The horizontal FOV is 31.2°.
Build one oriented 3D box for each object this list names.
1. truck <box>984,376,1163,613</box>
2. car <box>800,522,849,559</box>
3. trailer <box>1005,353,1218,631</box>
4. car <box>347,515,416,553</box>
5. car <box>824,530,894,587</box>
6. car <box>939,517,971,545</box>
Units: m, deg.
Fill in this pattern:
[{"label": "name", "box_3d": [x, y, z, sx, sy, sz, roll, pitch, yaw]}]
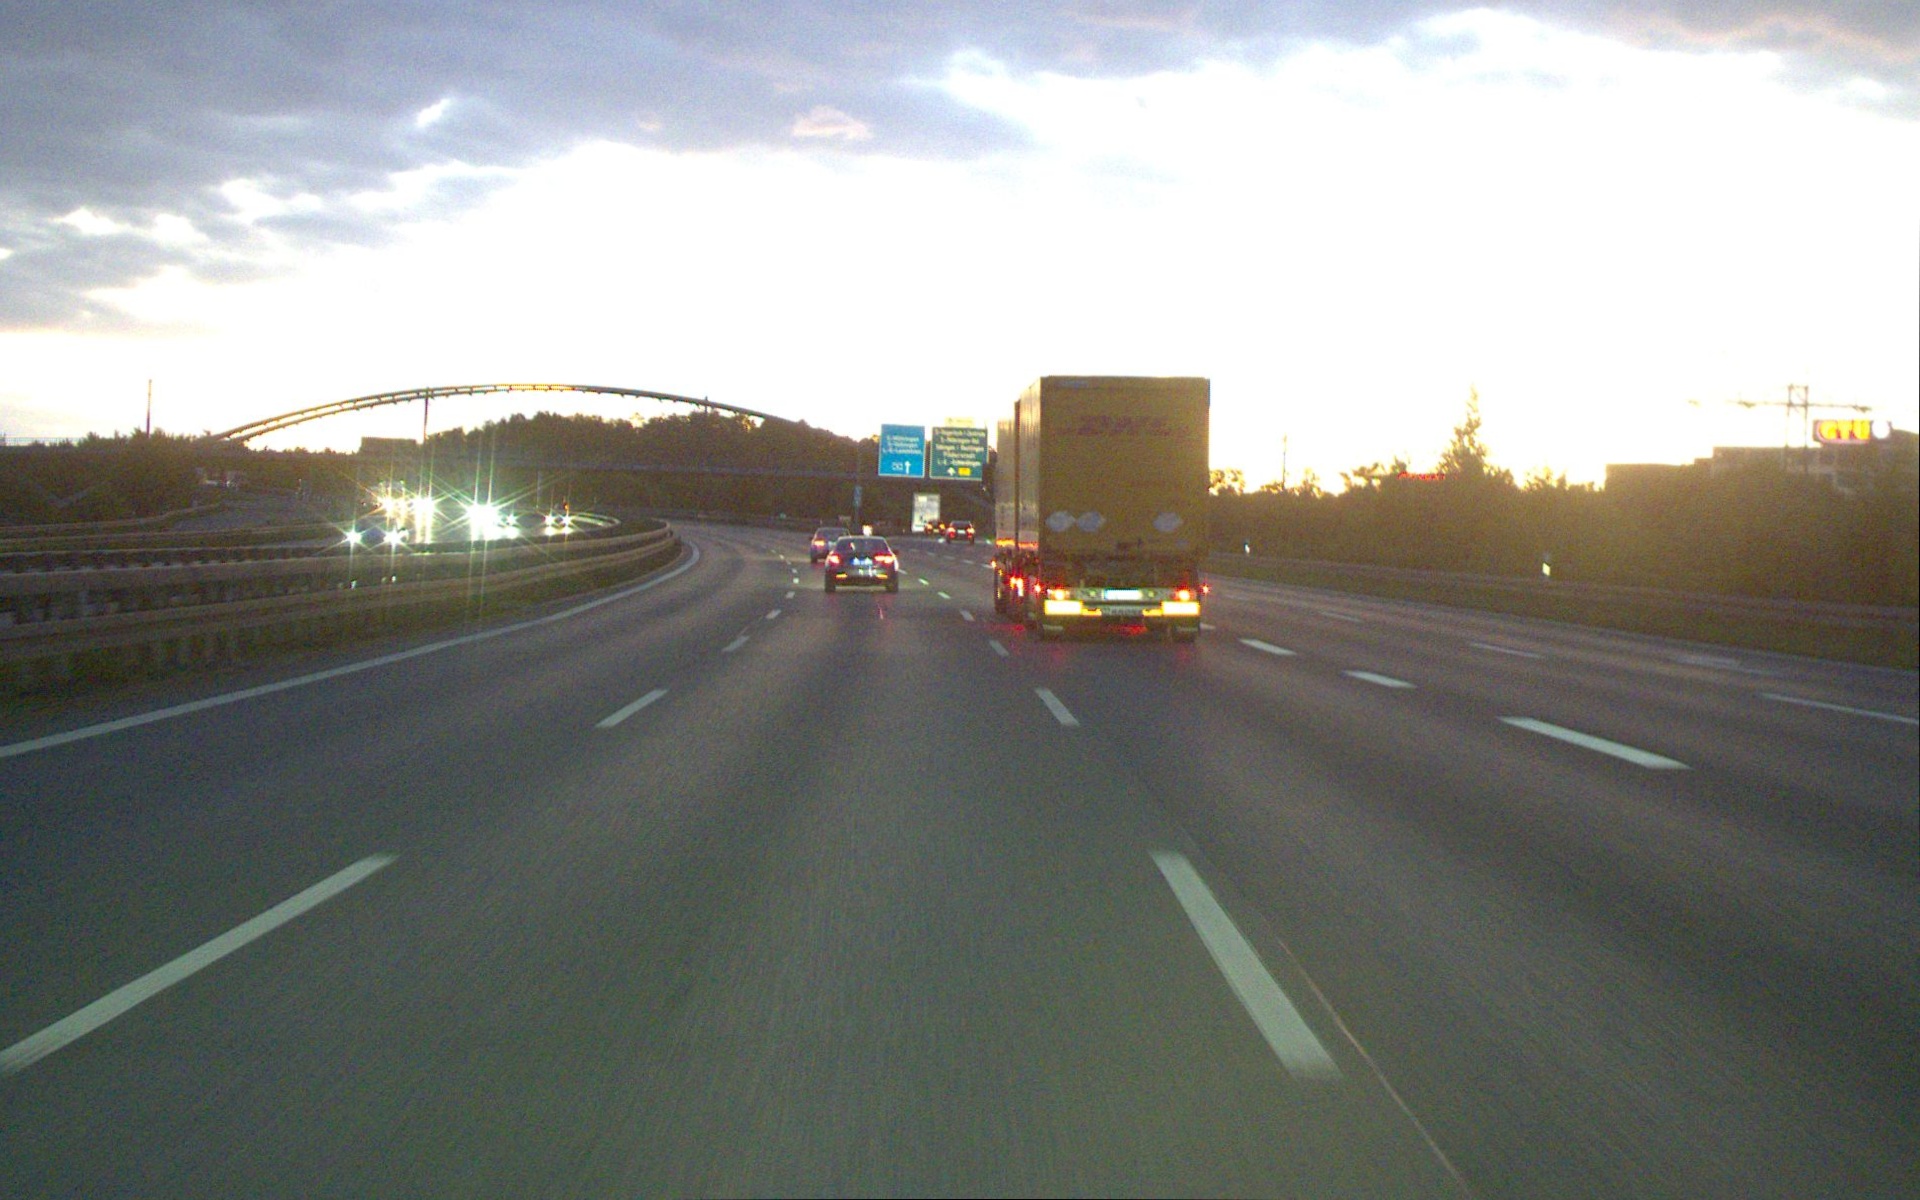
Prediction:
[{"label": "truck", "box_3d": [2.007, -1.978, 64.973, 2.690, 4.057, 10.521, 1, 2, -2]}, {"label": "car", "box_3d": [-5.453, -2.391, 138.721, 1.689, 1.397, 3.408, 0, 0, 3]}, {"label": "trailer", "box_3d": [2.304, -1.720, 55.320, 2.721, 4.057, 8.832, 1, 2, -2]}, {"label": "car", "box_3d": [-21.660, -2.483, 128.882, 1.993, 1.353, 4.866, 1, 2, -3]}, {"label": "car", "box_3d": [-2.597, -1.052, 87.978, 1.689, 1.396, 3.409, 1, 0, -3]}, {"label": "car", "box_3d": [-0.343, -4.623, 231.598, 1.993, 1.711, 4.000, 2, 0, -1]}]
